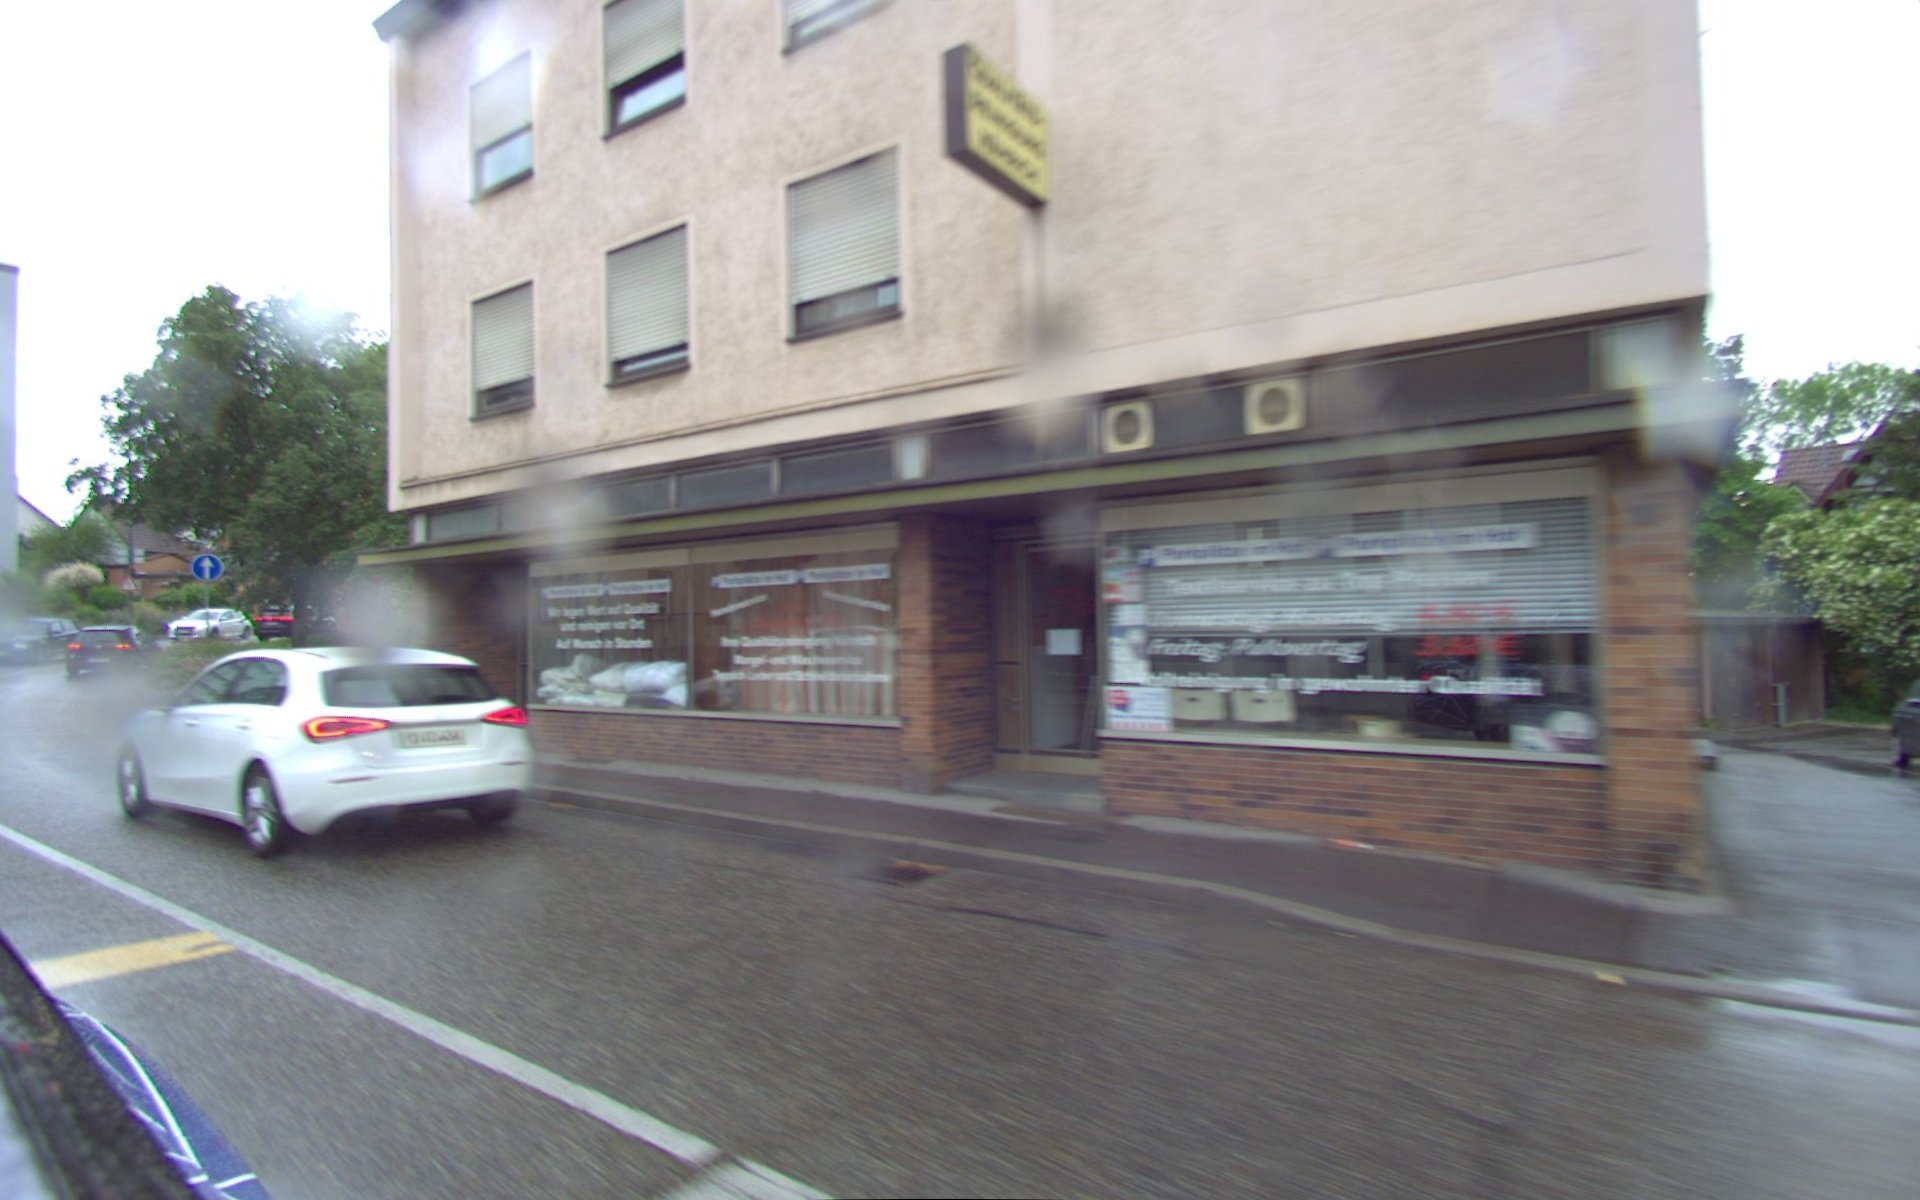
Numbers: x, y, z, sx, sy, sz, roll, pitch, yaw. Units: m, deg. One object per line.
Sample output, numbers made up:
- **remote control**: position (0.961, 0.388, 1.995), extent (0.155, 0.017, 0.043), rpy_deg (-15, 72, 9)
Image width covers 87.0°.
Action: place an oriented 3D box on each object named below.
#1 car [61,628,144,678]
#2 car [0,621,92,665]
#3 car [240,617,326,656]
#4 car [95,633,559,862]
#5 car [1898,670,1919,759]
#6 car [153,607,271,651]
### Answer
- **car**: position (-26.349, 1.601, 31.202), extent (1.747, 1.412, 3.927), rpy_deg (2, -2, -38)
- **car**: position (-31.325, 1.426, 34.191), extent (1.760, 1.357, 4.960), rpy_deg (-2, -1, -25)
- **car**: position (-31.116, 1.646, 46.660), extent (1.868, 1.607, 4.367), rpy_deg (3, -1, -14)
- **car**: position (-5.142, 1.015, 8.053), extent (4.103, 1.383, 1.675), rpy_deg (-3, -4, 35)
- **car**: position (15.365, 1.713, 14.898), extent (1.591, 1.402, 3.821), rpy_deg (-3, -7, 33)
- **car**: position (-35.232, 1.419, 47.845), extent (1.875, 1.672, 4.943), rpy_deg (-1, -6, 0)
